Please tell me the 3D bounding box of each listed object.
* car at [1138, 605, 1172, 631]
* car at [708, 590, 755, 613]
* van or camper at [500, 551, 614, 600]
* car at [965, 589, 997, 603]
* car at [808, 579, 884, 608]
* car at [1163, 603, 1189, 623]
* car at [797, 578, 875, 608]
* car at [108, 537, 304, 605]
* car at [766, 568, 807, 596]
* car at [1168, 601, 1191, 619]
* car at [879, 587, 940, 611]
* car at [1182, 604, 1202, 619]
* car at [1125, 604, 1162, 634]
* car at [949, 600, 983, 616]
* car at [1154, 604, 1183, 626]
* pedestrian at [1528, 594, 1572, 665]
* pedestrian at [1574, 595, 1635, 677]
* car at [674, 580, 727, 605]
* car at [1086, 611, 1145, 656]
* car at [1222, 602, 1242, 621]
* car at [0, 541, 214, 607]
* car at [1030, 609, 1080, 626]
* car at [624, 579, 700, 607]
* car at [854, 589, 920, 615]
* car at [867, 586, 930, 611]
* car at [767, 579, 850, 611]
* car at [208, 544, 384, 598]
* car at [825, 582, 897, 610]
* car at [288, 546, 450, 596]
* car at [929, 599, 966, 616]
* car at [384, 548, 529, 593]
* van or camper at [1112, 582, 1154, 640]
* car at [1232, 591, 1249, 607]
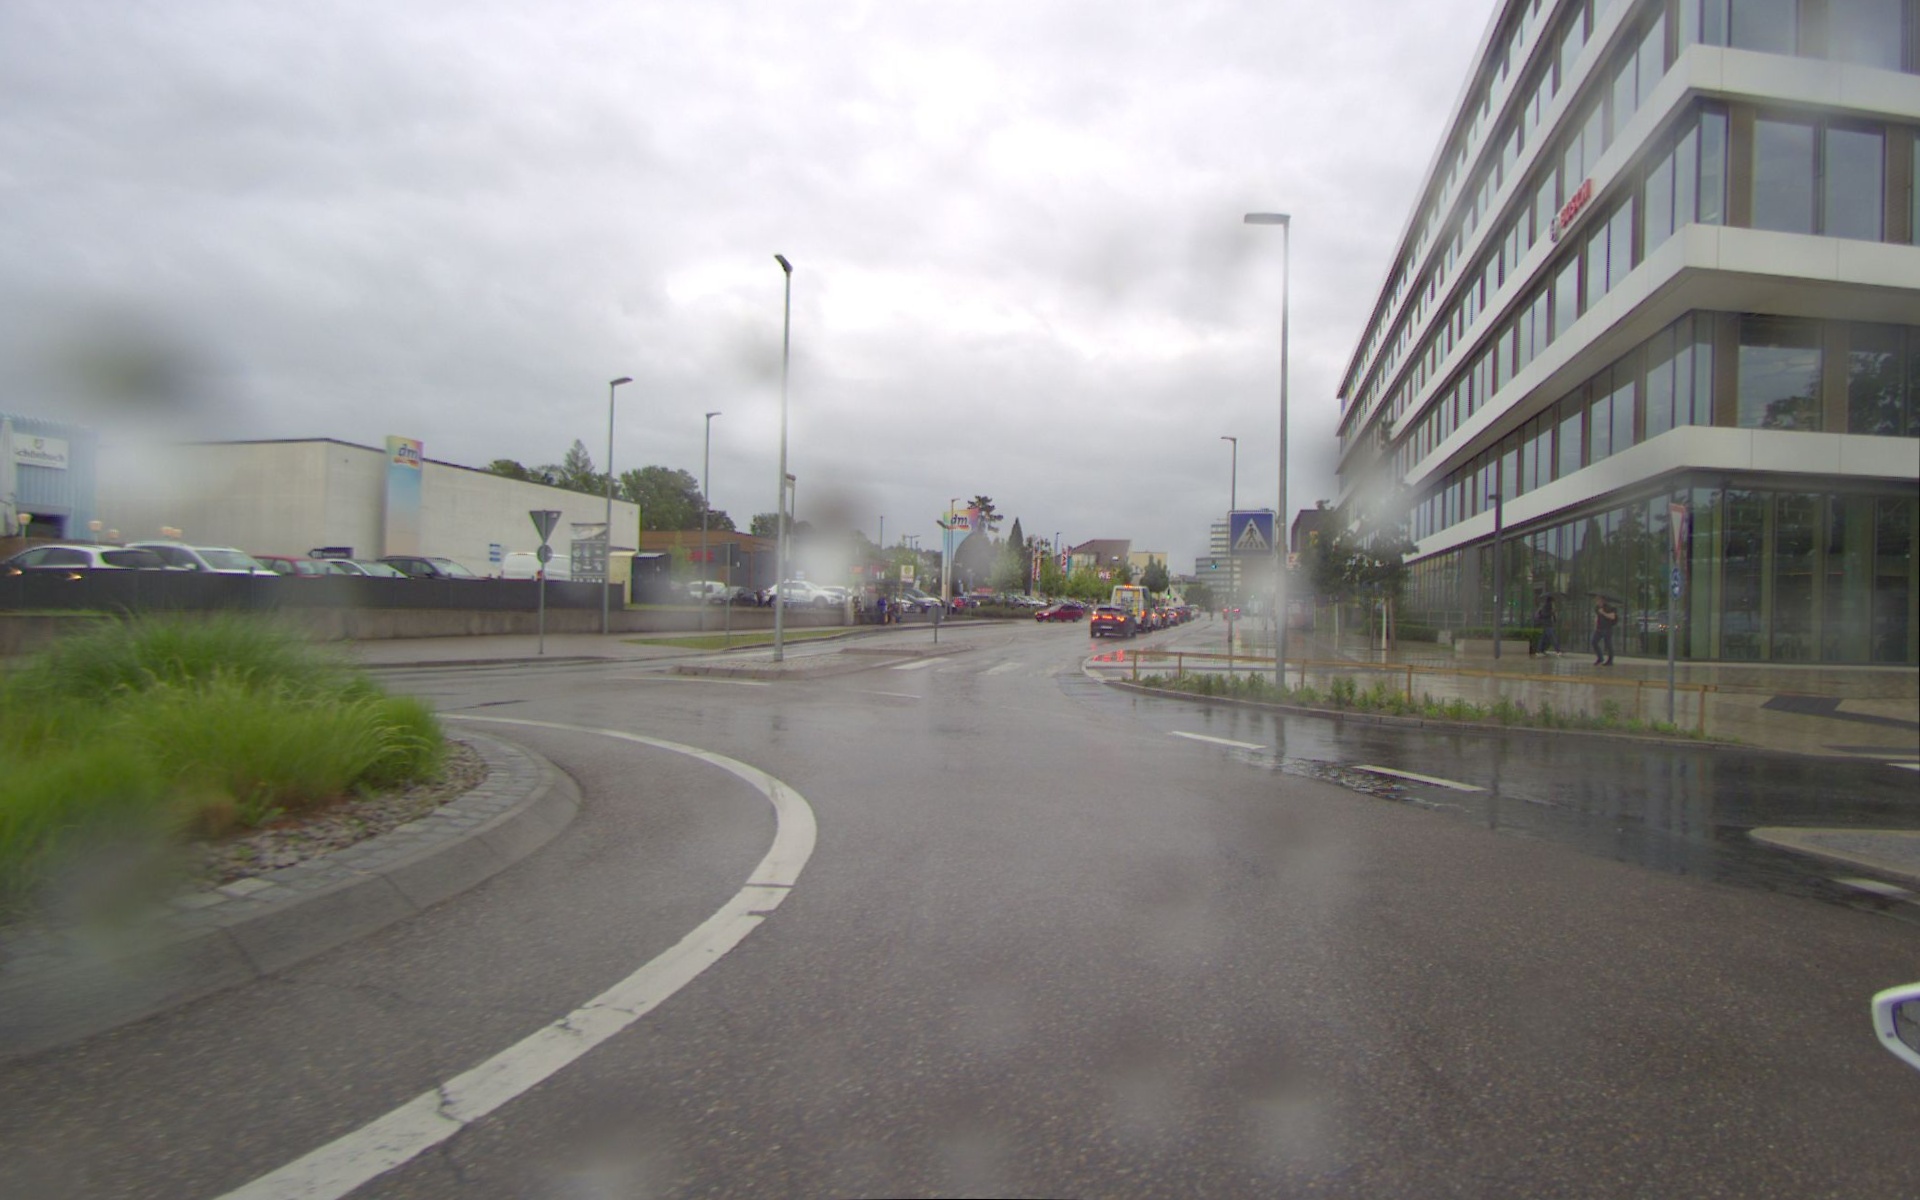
[{"bbox_3d":[13.827,1.242,71.062,1.960,1.639,4.001,2,1,15],"label":"car"},{"bbox_3d":[-14.674,0.110,64.626,1.559,1.371,3.523,1,0,12],"label":"car"},{"bbox_3d":[-15.864,-1.007,39.791,1.850,1.785,4.382,2,3,17],"label":"van or camper"},{"bbox_3d":[2.932,-0.531,139.496,3.920,1.673,2.000,4,3,15],"label":"car"},{"bbox_3d":[-6.576,-0.377,58.012,3.919,1.573,1.795,1,0,13],"label":"car"},{"bbox_3d":[19.280,1.095,89.456,1.960,1.639,4.001,2,1,15],"label":"car"},{"bbox_3d":[-6.896,-0.362,56.037,3.919,1.573,1.795,1,0,13],"label":"car"},{"bbox_3d":[-18.678,-0.699,24.932,3.919,1.573,1.795,1,0,13],"label":"car"},{"bbox_3d":[-14.288,-1.525,82.941,1.959,2.041,4.001,4,3,11],"label":"car"},{"bbox_3d":[21.883,1.003,100.137,1.960,1.639,4.001,2,1,15],"label":"car"},{"bbox_3d":[-3.530,-0.050,70.782,3.919,1.573,1.795,1,0,13],"label":"car"},{"bbox_3d":[29.575,1.509,128.210,1.961,1.606,3.999,4,3,19],"label":"car"},{"bbox_3d":[11.818,1.191,64.630,1.960,1.729,4.001,2,1,15],"label":"car"},{"bbox_3d":[0.738,0.954,127.675,3.920,1.673,2.000,4,3,15],"label":"car"},{"bbox_3d":[16.624,1.163,80.115,1.960,1.639,4.001,2,1,15],"label":"car"},{"bbox_3d":[18.669,0.919,31.813,0.986,2.174,0.932,1,1,19],"label":"pedestrian"},{"bbox_3d":[16.391,0.893,25.555,0.915,2.040,0.891,1,1,-12],"label":"pedestrian"},{"bbox_3d":[-17.069,-0.488,66.199,1.758,1.573,4.002,1,0,12],"label":"car"},{"bbox_3d":[7.327,1.513,47.143,1.961,1.751,3.999,2,3,20],"label":"car"},{"bbox_3d":[31.979,1.338,118.095,1.960,1.885,4.000,4,3,18],"label":"car"},{"bbox_3d":[-18.856,-0.608,22.156,3.920,1.313,1.888,2,3,17],"label":"car"},{"bbox_3d":[8.162,1.519,86.465,3.963,1.417,1.979,1,0,-37],"label":"car"},{"bbox_3d":[-17.582,-0.398,59.332,3.919,1.573,1.795,1,0,15],"label":"car"},{"bbox_3d":[-4.773,0.107,65.848,3.919,1.573,1.795,1,0,13],"label":"car"},{"bbox_3d":[-4.172,-0.091,68.319,3.919,1.573,1.795,1,0,13],"label":"car"},{"bbox_3d":[-7.983,-0.260,52.983,3.919,1.573,1.853,1,0,13],"label":"car"},{"bbox_3d":[-17.840,-0.796,27.039,3.920,1.313,1.888,2,3,17],"label":"car"},{"bbox_3d":[-5.974,-0.242,60.818,3.919,1.573,1.795,1,0,13],"label":"car"},{"bbox_3d":[-17.161,-0.862,29.223,3.920,1.313,1.888,2,3,17],"label":"car"},{"bbox_3d":[-1.458,0.929,120.171,3.920,1.673,2.000,4,3,15],"label":"car"},{"bbox_3d":[-16.151,-0.967,32.277,3.920,1.313,1.888,2,3,17],"label":"car"},{"bbox_3d":[9.914,0.539,57.261,1.959,3.130,5.103,1,2,14],"label":"van or camper"},{"bbox_3d":[39.104,-0.169,140.040,1.960,1.885,4.000,4,3,18],"label":"car"}]
